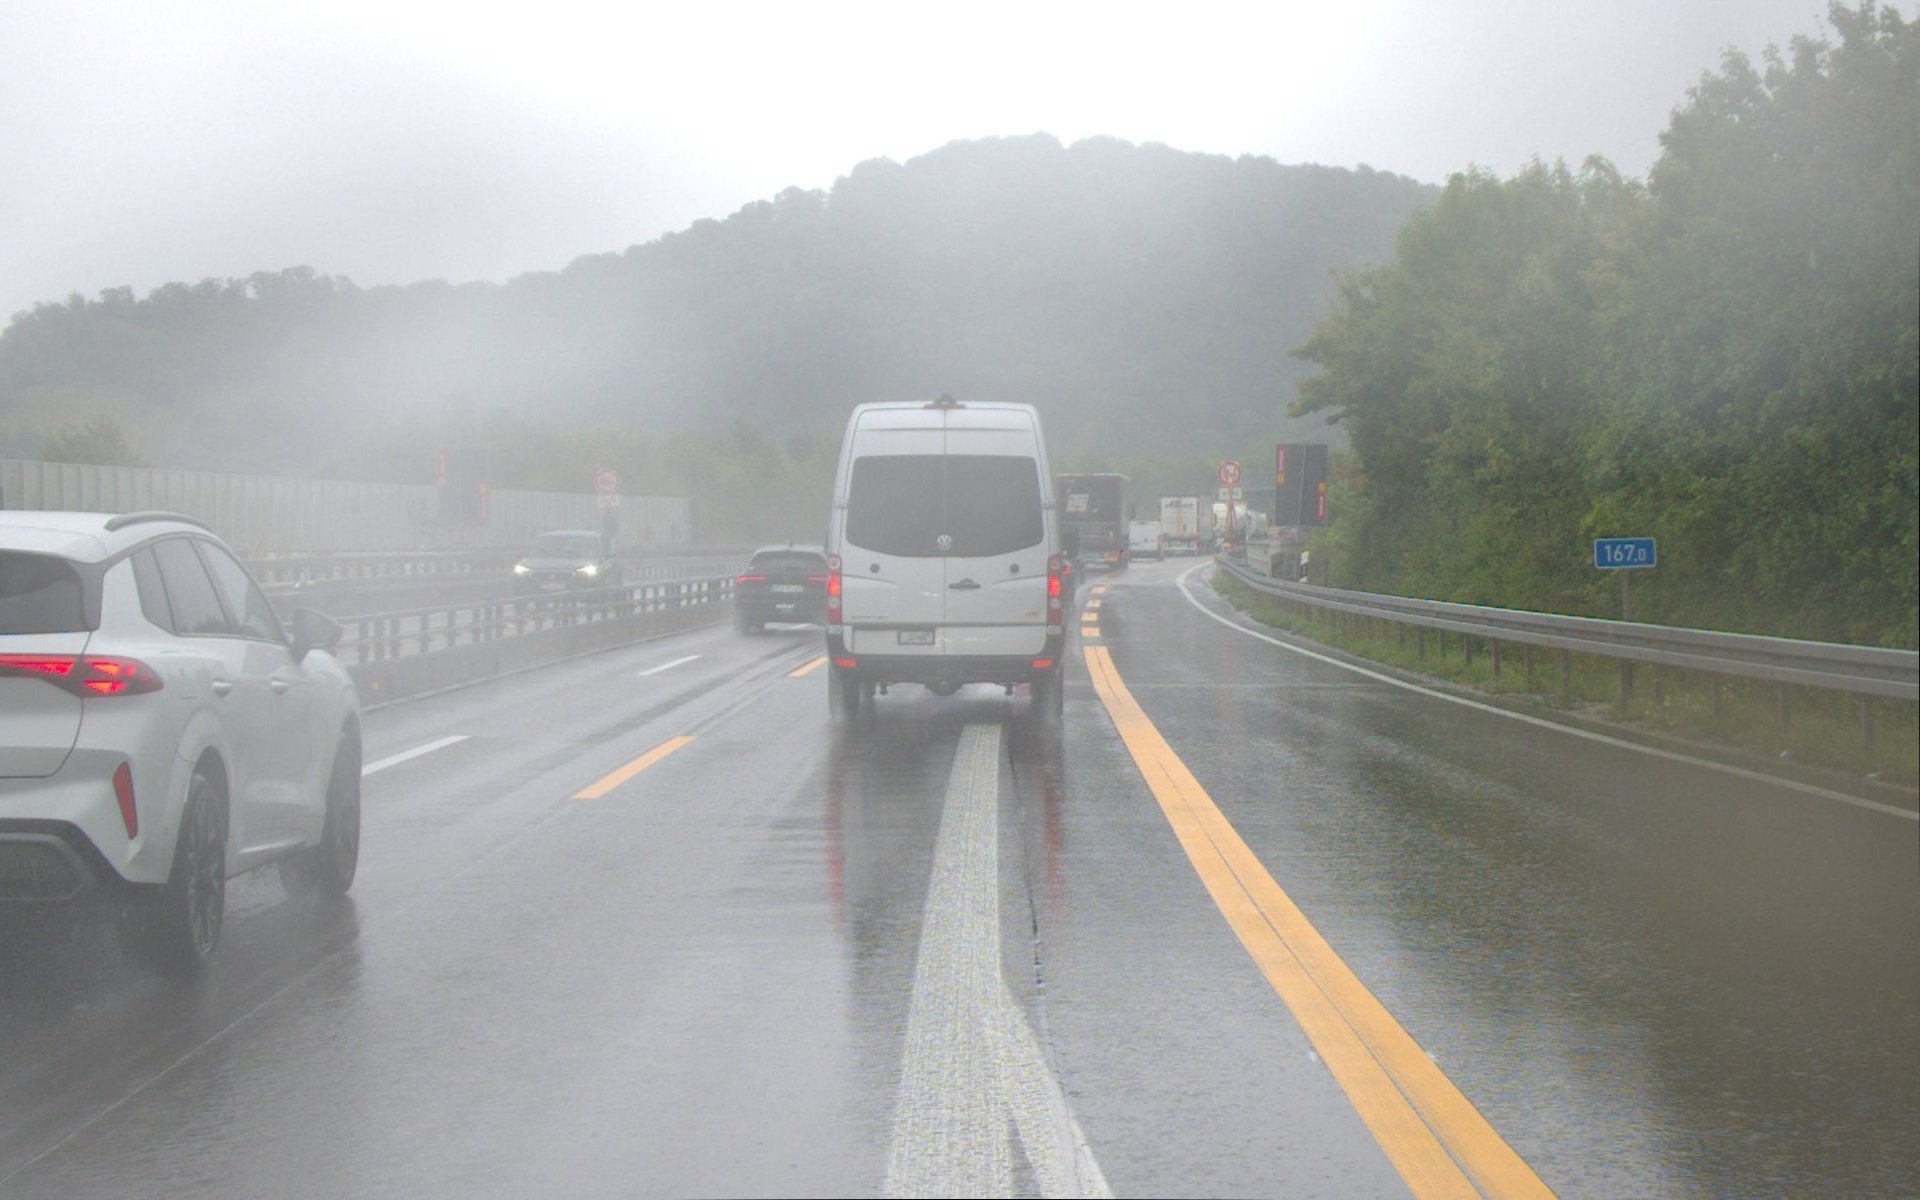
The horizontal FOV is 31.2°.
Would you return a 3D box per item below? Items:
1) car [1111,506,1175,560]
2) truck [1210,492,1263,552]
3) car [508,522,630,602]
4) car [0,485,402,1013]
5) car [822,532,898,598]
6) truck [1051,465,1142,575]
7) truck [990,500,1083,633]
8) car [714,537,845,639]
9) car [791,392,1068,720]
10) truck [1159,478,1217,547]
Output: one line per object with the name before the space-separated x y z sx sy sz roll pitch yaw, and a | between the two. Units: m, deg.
car | 10.210 -3.700 190.852 2.899 2.877 6.409 1 1 9
truck | 20.874 -5.839 259.402 2.900 4.391 9.619 1 1 11
car | -8.134 -0.798 71.864 1.779 1.599 4.316 1 1 4
car | -3.478 0.410 12.934 1.993 1.612 4.797 1 1 -1
car | -2.517 -0.893 87.212 1.707 1.622 4.000 1 1 1
truck | 5.666 -3.293 143.409 3.581 4.391 9.623 1 1 2
truck | 1.952 -0.849 85.409 1.994 3.098 8.498 1 1 3
car | -2.869 -0.217 55.327 1.946 1.556 4.000 1 1 -1
car | -0.235 -0.385 29.895 2.145 2.562 5.390 1 1 0
truck | 15.120 -5.761 227.501 3.037 4.391 9.621 1 1 8
